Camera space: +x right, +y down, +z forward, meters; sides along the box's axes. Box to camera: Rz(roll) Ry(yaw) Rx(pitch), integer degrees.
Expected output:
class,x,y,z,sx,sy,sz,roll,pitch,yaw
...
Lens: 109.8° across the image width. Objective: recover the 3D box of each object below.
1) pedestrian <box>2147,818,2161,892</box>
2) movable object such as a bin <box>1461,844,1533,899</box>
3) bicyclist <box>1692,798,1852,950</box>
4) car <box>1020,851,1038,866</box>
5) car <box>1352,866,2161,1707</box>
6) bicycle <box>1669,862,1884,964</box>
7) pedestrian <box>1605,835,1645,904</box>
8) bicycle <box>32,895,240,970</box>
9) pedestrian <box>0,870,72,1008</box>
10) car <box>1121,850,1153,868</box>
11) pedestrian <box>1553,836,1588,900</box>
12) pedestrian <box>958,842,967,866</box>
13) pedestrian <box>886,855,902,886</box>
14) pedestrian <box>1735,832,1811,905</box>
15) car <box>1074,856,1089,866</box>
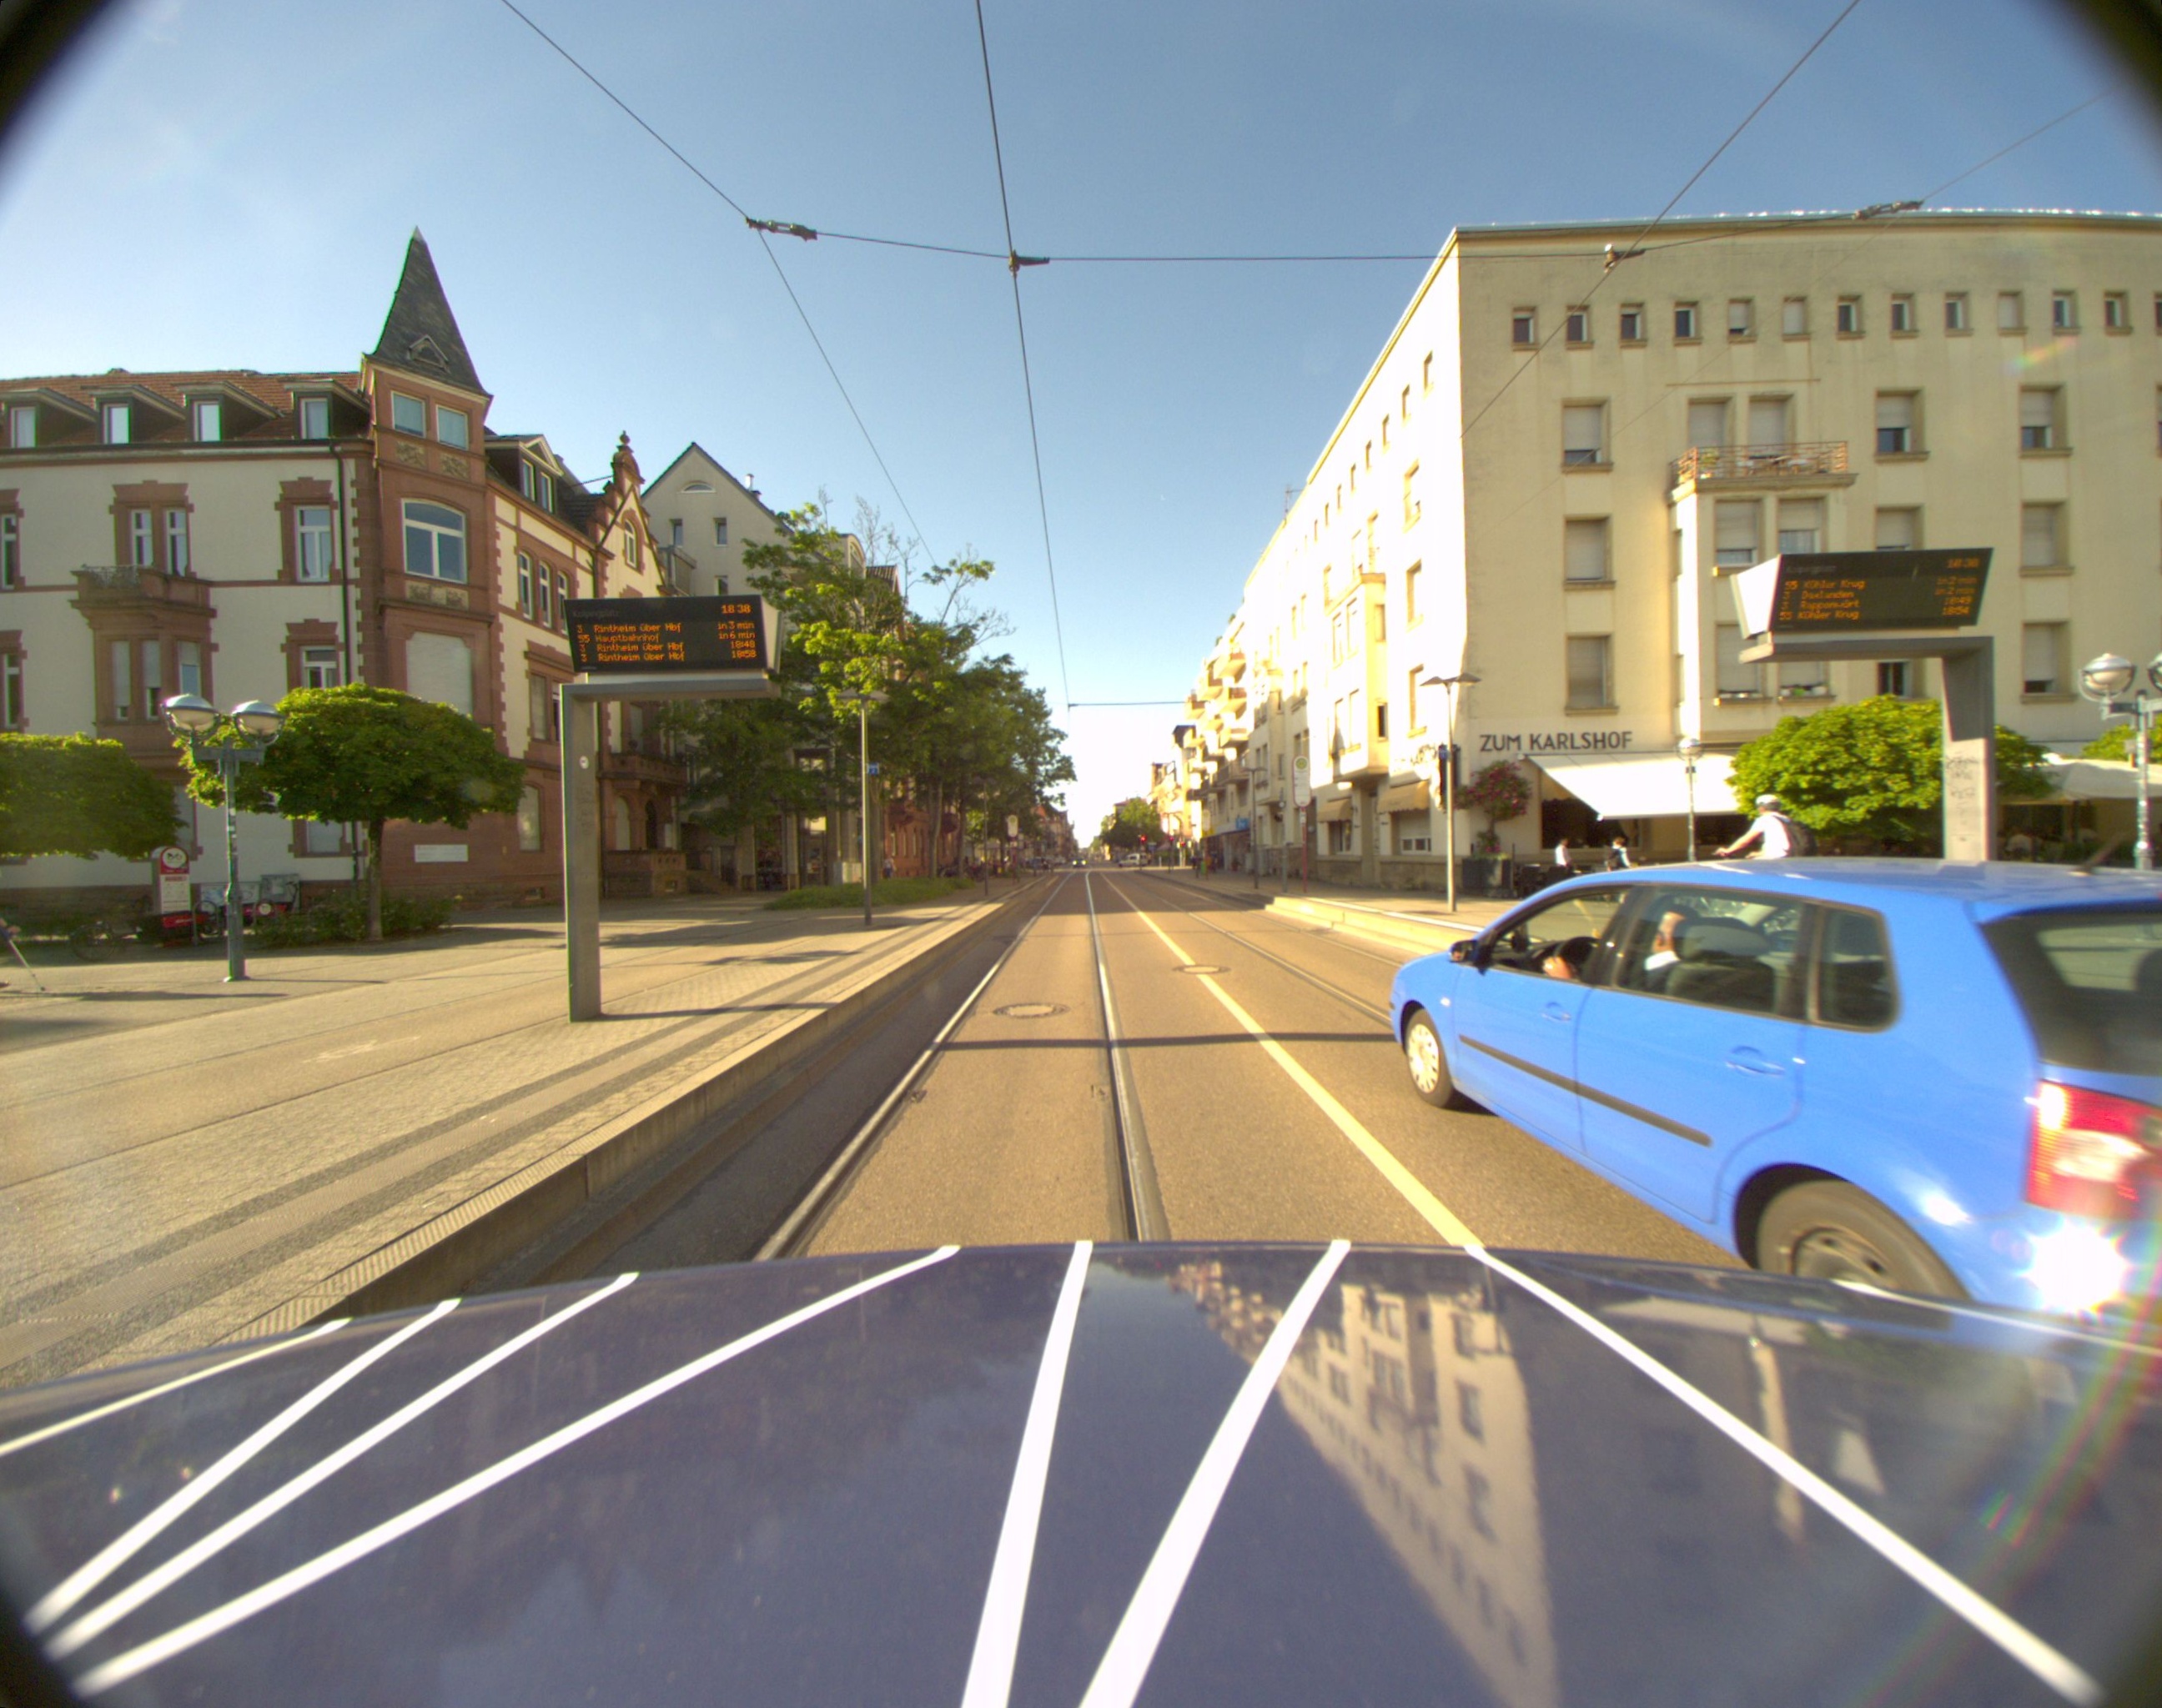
class,x,y,z,sx,sy,sz,roll,pitch,yaw
pedestrian,26.587,0.019,18.545,0.578,1.813,0.647,-2,1,-36
movable object such as a bin,11.169,0.460,20.446,1.319,1.392,1.128,-1,1,-1
bicyclist,8.700,0.236,9.615,1.007,1.783,1.094,-2,1,-8
car,-7.210,0.643,106.109,1.998,2.002,4.001,-1,0,4
car,2.765,0.852,3.252,1.671,1.479,3.999,-2,0,-1
bicycle,8.718,0.684,9.673,0.714,1.119,2.034,-2,0,-7
pedestrian,13.143,0.390,18.351,0.672,1.634,0.678,-2,-3,43
bicycle,-18.149,1.453,14.756,0.790,1.062,2.804,-2,2,-8
pedestrian,-13.710,1.048,9.392,1.070,1.659,0.956,-2,1,-12
car,7.152,0.646,97.093,1.882,2.105,3.990,-2,1,-34
pedestrian,12.729,0.370,19.773,0.672,1.634,0.752,-1,-2,27
pedestrian,-9.912,0.008,63.603,0.653,2.002,0.559,-1,1,3
pedestrian,-10.696,0.949,43.465,0.742,1.725,0.877,-2,1,-6
pedestrian,16.016,0.328,17.596,1.066,1.635,0.756,-1,1,-4
car,0.120,0.924,107.789,1.998,1.318,3.863,-1,0,1
